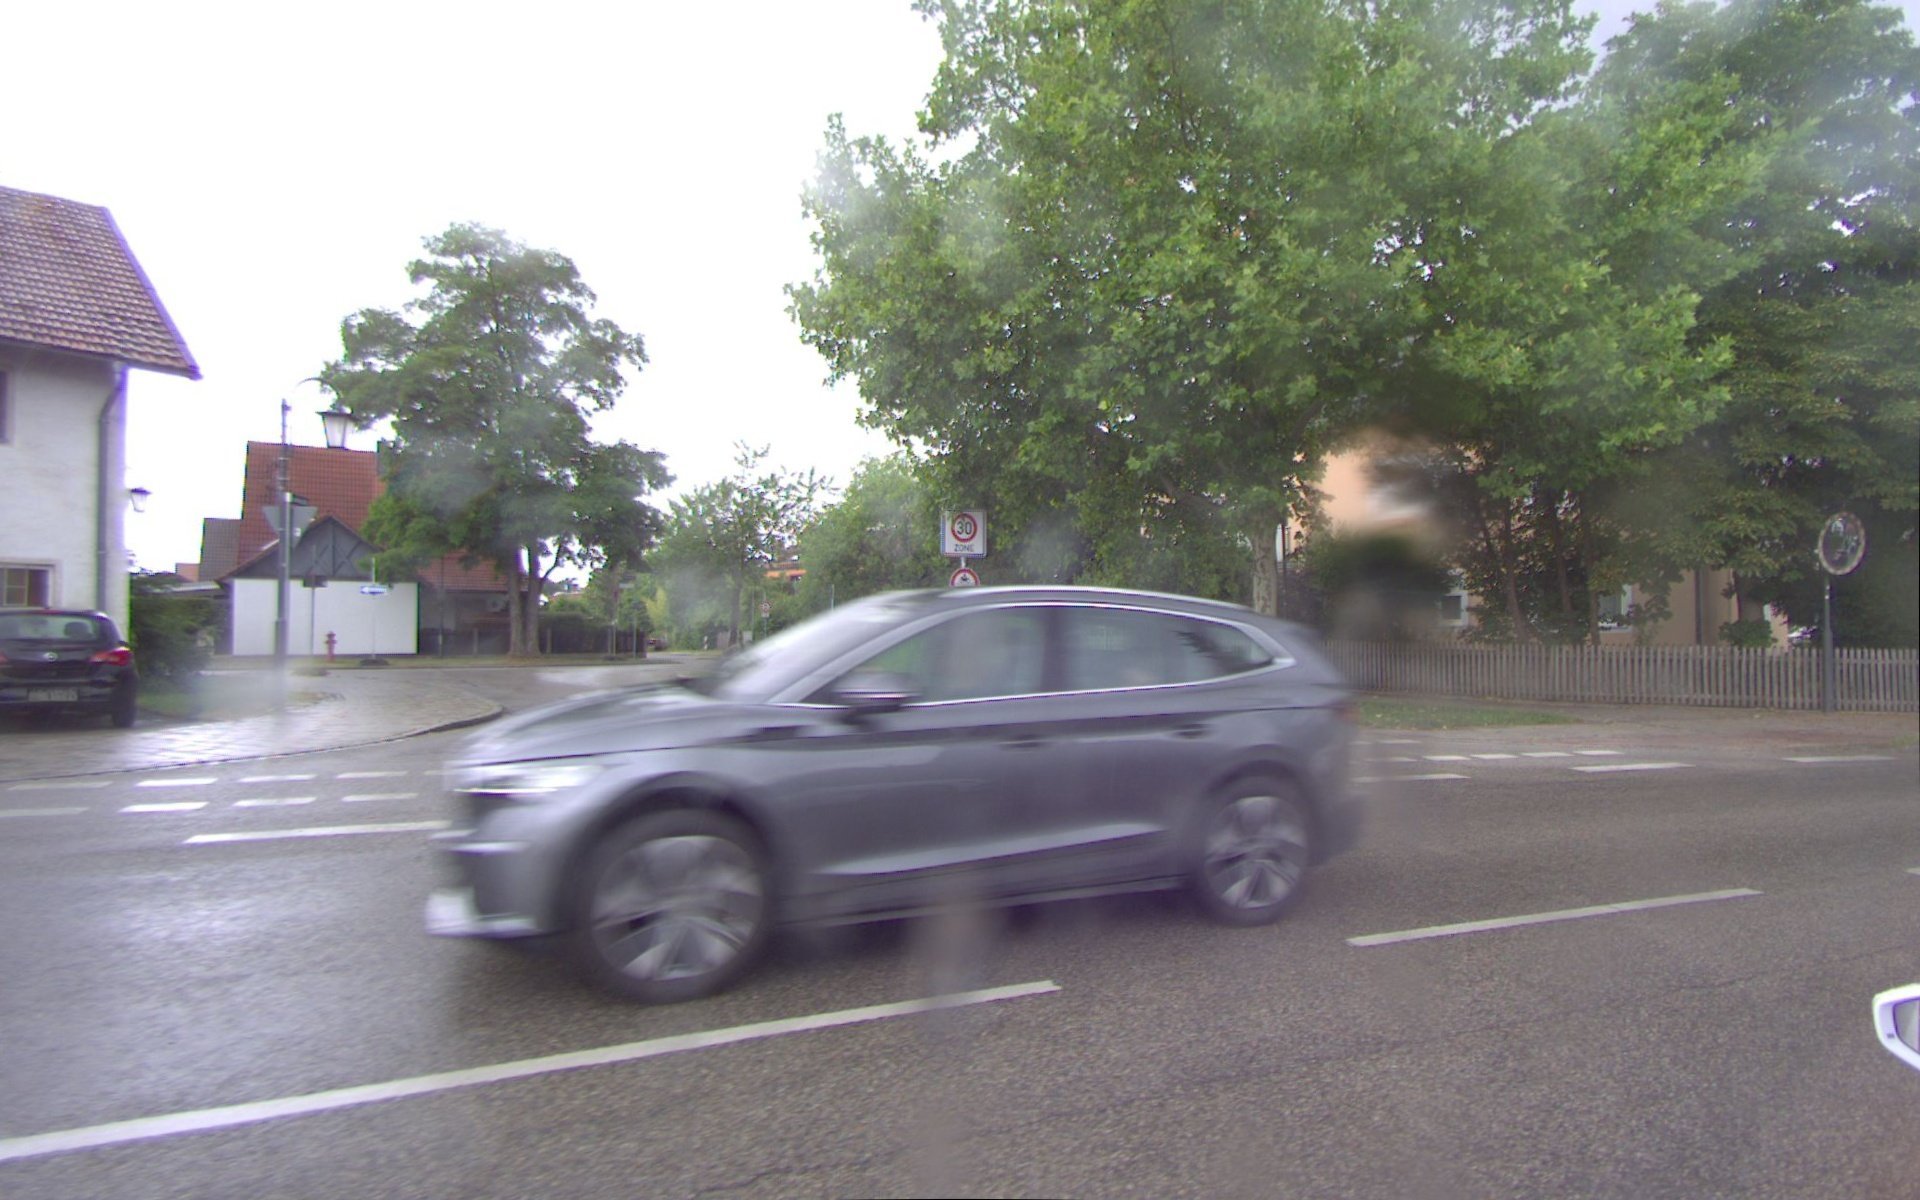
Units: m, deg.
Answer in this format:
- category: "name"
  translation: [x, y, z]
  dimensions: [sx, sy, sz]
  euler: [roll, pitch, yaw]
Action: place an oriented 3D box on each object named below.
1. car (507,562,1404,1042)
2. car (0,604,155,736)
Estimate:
- category: "car"
  translation: [-0.031, 0.718, 5.155]
  dimensions: [4.133, 1.616, 1.988]
  euler: [1, 0, -24]
- category: "car"
  translation: [-11.678, 0.814, 12.985]
  dimensions: [1.804, 1.455, 4.236]
  euler: [2, -2, -37]
